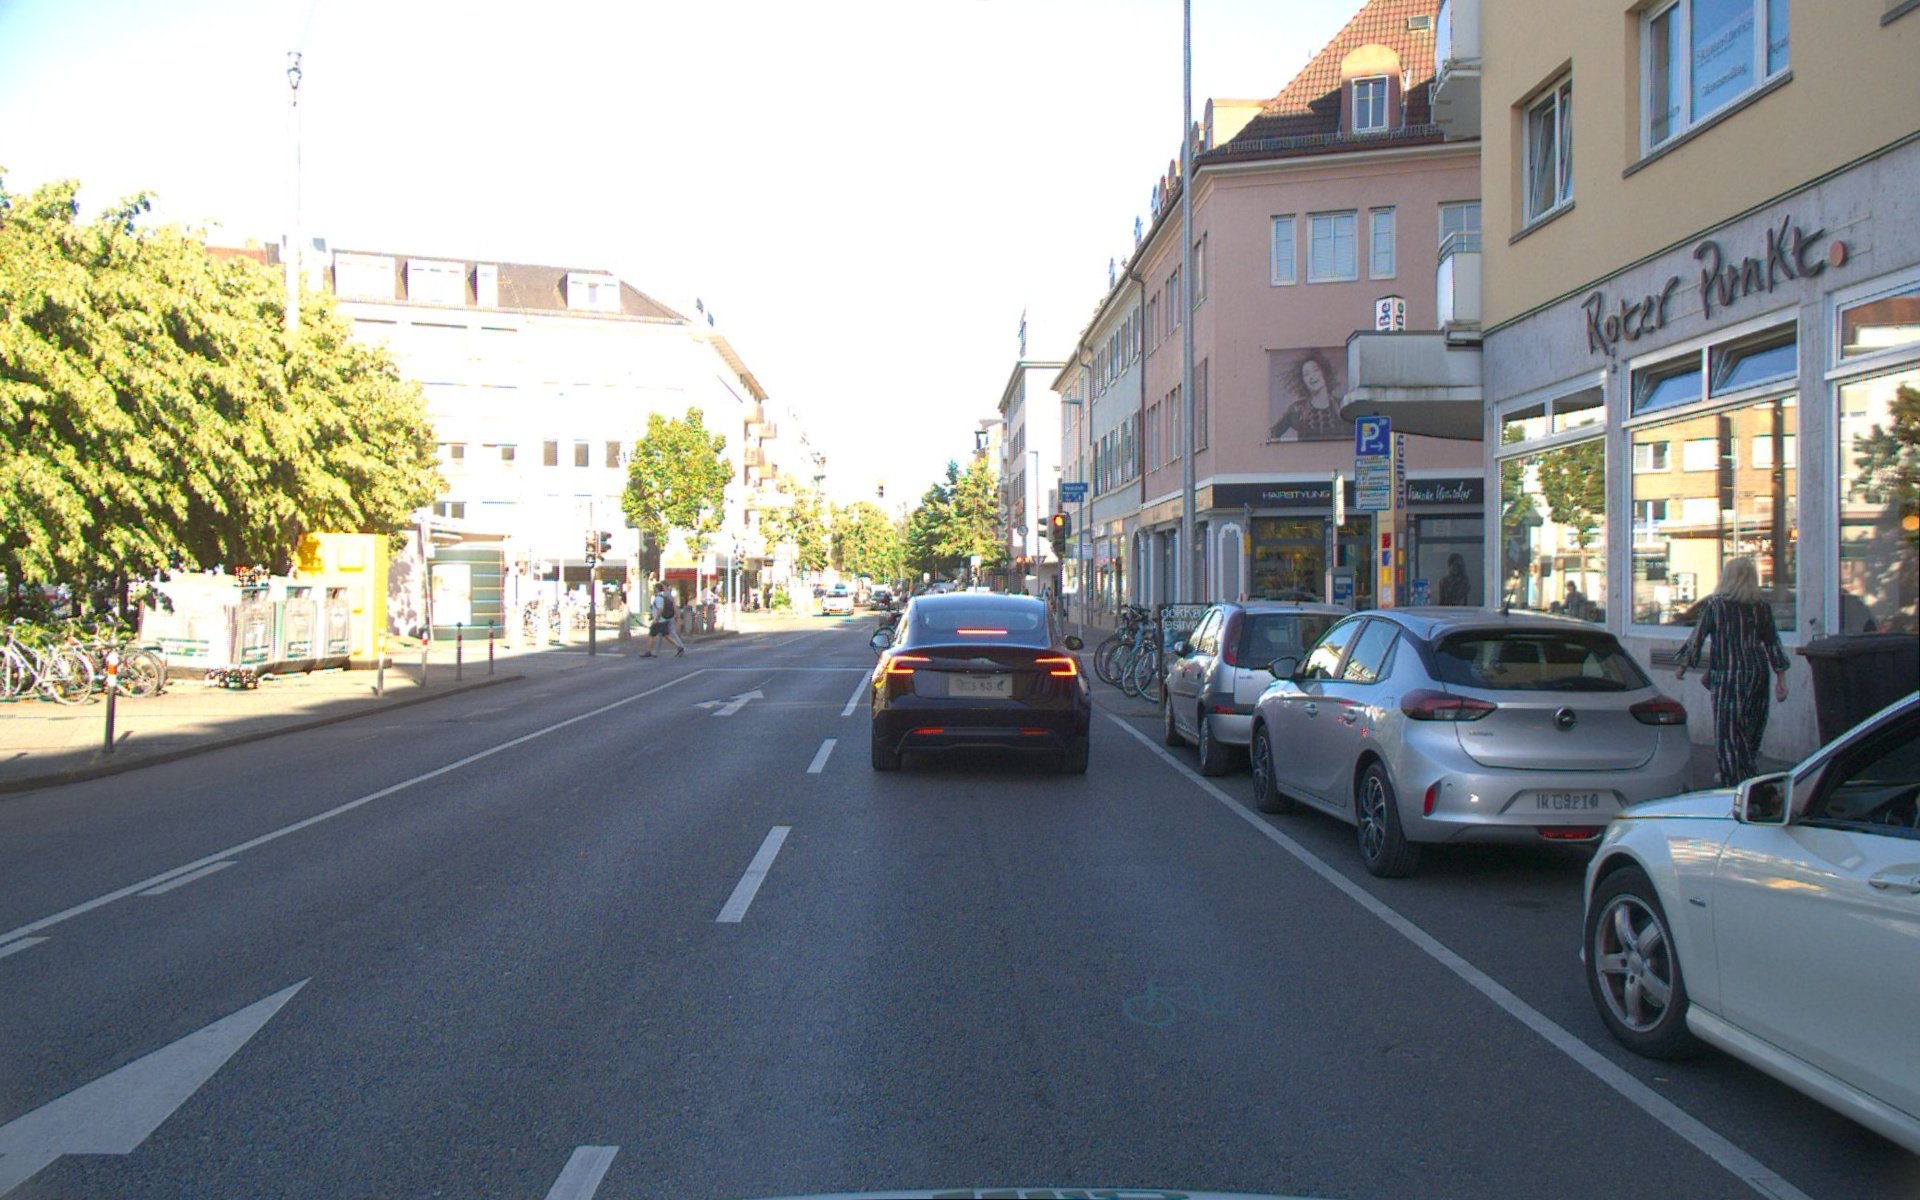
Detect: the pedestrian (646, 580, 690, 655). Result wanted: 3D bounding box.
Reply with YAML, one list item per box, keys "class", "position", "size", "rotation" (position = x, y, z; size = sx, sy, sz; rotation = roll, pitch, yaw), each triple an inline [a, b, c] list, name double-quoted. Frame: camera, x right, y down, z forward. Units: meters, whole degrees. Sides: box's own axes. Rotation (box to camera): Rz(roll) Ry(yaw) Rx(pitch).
- class: "pedestrian"
  position: [-6.978, 0.406, 39.543]
  size: [0.882, 1.755, 0.744]
  rotation: [0, 0, 3]

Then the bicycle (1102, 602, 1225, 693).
- class: "bicycle"
  position: [2.777, 0.650, 22.655]
  size: [1.595, 1.180, 0.432]
  rotation: [-2, 0, -2]

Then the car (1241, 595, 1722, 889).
- class: "car"
  position: [2.964, 0.707, 10.332]
  size: [1.636, 1.452, 4.076]
  rotation: [0, 0, -1]

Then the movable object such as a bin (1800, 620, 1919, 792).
- class: "movable object such as a bin"
  position: [6.225, 0.704, 11.217]
  size: [0.688, 1.086, 0.619]
  rotation: [-3, 0, -1]

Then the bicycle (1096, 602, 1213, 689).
- class: "bicycle"
  position: [2.797, 0.648, 23.864]
  size: [1.595, 1.180, 0.432]
  rotation: [-2, 0, -2]

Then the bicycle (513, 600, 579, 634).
- class: "bicycle"
  position: [-14.125, 0.569, 56.404]
  size: [2.040, 1.123, 0.806]
  rotation: [0, 0, -1]

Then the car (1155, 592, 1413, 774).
- class: "car"
  position: [2.780, 0.642, 14.963]
  size: [1.588, 1.419, 3.886]
  rotation: [0, 0, 0]

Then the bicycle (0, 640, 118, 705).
- class: "bicycle"
  position: [-11.693, 0.919, 21.206]
  size: [1.621, 0.782, 0.475]
  rotation: [1, 0, 8]

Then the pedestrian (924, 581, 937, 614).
- class: "pedestrian"
  position: [-1.814, -0.179, 102.387]
  size: [0.614, 2.049, 0.559]
  rotation: [0, 0, 24]

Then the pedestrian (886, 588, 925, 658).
- class: "pedestrian"
  position: [-1.159, 0.485, 35.173]
  size: [0.727, 1.465, 0.583]
  rotation: [1, 0, 9]

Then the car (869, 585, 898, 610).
- class: "car"
  position: [-5.506, -0.219, 118.838]
  size: [2.009, 1.757, 4.651]
  rotation: [0, 0, -3]

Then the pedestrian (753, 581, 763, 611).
- class: "pedestrian"
  position: [-13.602, -0.285, 111.394]
  size: [0.613, 2.049, 0.575]
  rotation: [0, 0, -1]

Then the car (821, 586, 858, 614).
- class: "car"
  position: [-7.437, -0.017, 102.314]
  size: [1.953, 1.567, 4.000]
  rotation: [-3, 0, -1]

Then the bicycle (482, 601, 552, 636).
- class: "bicycle"
  position: [-14.429, 0.591, 53.881]
  size: [2.040, 1.123, 0.806]
  rotation: [0, 0, -1]

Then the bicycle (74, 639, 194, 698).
- class: "bicycle"
  position: [-11.564, 0.949, 23.165]
  size: [1.442, 0.782, 0.475]
  rotation: [1, 0, 2]

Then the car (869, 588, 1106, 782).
- class: "car"
  position: [0.220, 0.640, 14.563]
  size: [1.812, 1.480, 3.786]
  rotation: [0, 0, 0]

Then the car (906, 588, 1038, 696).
- class: "car"
  position: [0.168, 0.562, 24.724]
  size: [1.812, 1.480, 3.786]
  rotation: [0, 0, 0]

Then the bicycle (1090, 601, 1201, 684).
- class: "bicycle"
  position: [2.801, 0.638, 25.061]
  size: [1.595, 1.180, 0.432]
  rotation: [-2, 0, -2]

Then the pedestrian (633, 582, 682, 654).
- class: "pedestrian"
  position: [-7.111, 0.412, 38.904]
  size: [0.965, 1.665, 0.737]
  rotation: [0, 0, 3]

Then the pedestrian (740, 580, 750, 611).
- class: "pedestrian"
  position: [-14.461, -0.299, 111.313]
  size: [0.613, 2.049, 0.707]
  rotation: [0, 0, -1]

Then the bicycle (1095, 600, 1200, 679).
- class: "bicycle"
  position: [2.957, 0.620, 26.145]
  size: [1.594, 1.180, 0.433]
  rotation: [-2, 0, 0]

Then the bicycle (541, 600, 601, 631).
- class: "bicycle"
  position: [-14.372, 0.564, 61.176]
  size: [2.040, 1.123, 0.806]
  rotation: [0, 0, -1]

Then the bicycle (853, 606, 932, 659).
- class: "bicycle"
  position: [-1.413, 0.681, 34.762]
  size: [1.581, 1.063, 0.591]
  rotation: [1, 0, 8]

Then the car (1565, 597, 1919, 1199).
- class: "car"
  position: [3.162, 0.745, 3.945]
  size: [1.703, 1.472, 4.463]
  rotation: [0, 0, -2]

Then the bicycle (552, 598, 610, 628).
- class: "bicycle"
  position: [-14.506, 0.512, 63.368]
  size: [2.040, 1.123, 0.806]
  rotation: [0, 0, -1]

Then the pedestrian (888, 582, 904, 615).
- class: "pedestrian"
  position: [-4.025, -0.102, 104.271]
  size: [0.742, 2.049, 0.791]
  rotation: [0, 0, -26]

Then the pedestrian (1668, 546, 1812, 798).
- class: "pedestrian"
  position: [5.350, 0.481, 11.375]
  size: [0.648, 1.661, 0.628]
  rotation: [-2, 0, 3]

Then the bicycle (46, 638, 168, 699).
- class: "bicycle"
  position: [-11.656, 0.933, 22.608]
  size: [1.442, 0.782, 0.441]
  rotation: [1, 0, 4]
